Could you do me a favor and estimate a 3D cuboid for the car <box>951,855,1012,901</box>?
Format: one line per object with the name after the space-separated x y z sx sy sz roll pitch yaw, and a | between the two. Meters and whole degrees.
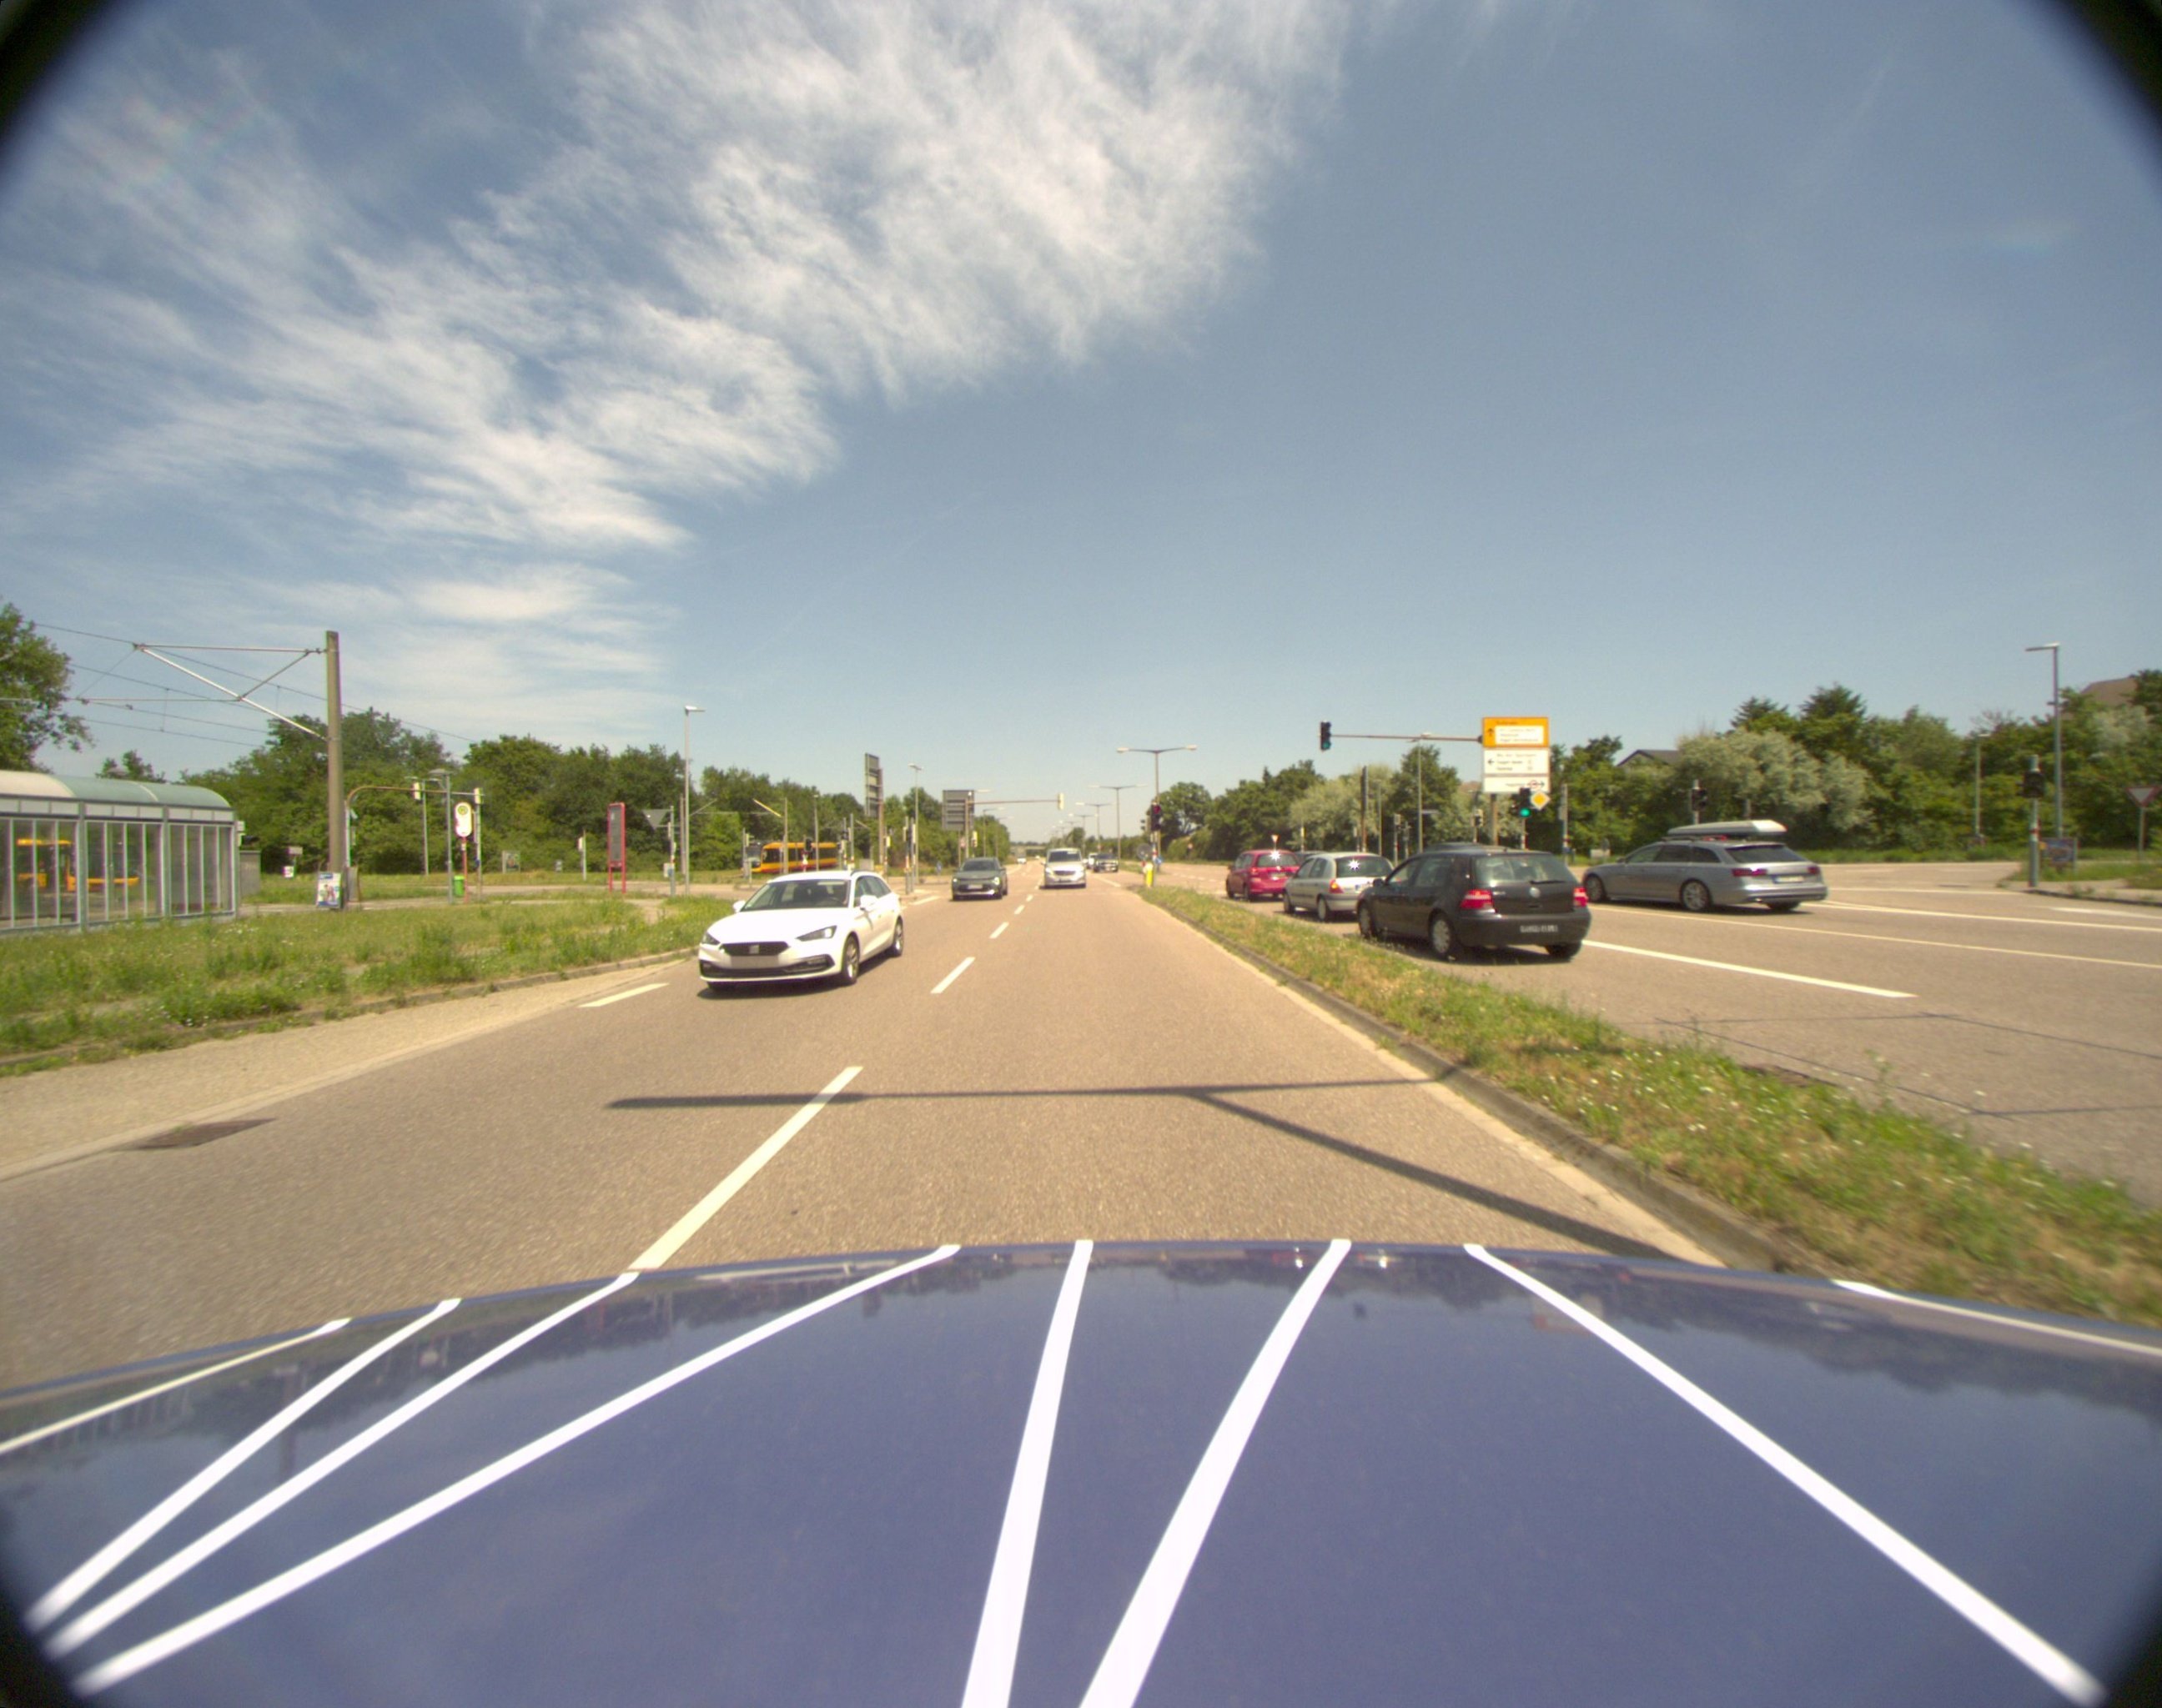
-3.712 0.850 29.001 1.723 1.587 4.000 -1 0 1 | car

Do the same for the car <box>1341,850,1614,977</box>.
5.351 0.687 10.965 1.680 1.426 4.190 -2 0 -1 | car

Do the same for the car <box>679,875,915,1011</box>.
-3.726 1.077 10.904 1.686 1.381 4.450 -1 0 0 | car

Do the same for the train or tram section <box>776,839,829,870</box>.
-34.293 0.036 94.136 2.822 3.561 12.495 -1 0 -4 | train or tram section

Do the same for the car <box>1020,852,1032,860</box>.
-11.454 0.405 159.057 1.998 1.652 4.000 -1 0 1 | car

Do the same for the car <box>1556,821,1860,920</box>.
12.792 0.285 16.077 1.971 1.740 5.019 -1 0 -6 | car

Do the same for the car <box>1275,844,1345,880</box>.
9.523 0.313 31.910 1.601 1.377 4.002 -2 0 -2 | car

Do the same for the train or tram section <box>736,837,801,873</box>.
-33.289 0.060 81.645 2.822 3.561 12.495 -1 0 -5 | train or tram section

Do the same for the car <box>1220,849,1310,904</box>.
5.506 0.619 23.229 1.663 1.482 3.999 -1 0 -2 | car

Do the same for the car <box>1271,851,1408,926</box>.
5.515 0.684 16.707 1.565 1.415 3.853 -2 0 -2 | car

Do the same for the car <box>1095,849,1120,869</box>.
2.279 0.431 66.044 1.785 1.658 4.530 -1 0 -2 | car

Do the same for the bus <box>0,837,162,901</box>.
-55.816 0.849 40.517 12.061 3.102 2.841 -2 1 9 | bus

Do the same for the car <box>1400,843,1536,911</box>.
9.156 0.498 18.273 1.451 1.437 3.505 -2 0 0 | car

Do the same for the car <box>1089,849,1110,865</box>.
1.954 0.286 80.284 1.922 1.661 4.000 -1 1 -3 | car

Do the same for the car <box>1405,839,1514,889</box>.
13.081 0.320 26.537 1.663 1.530 3.999 -2 0 -2 | car

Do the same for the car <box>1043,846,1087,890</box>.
-0.723 0.599 36.289 1.876 1.866 5.731 -3 0 -1 | car
